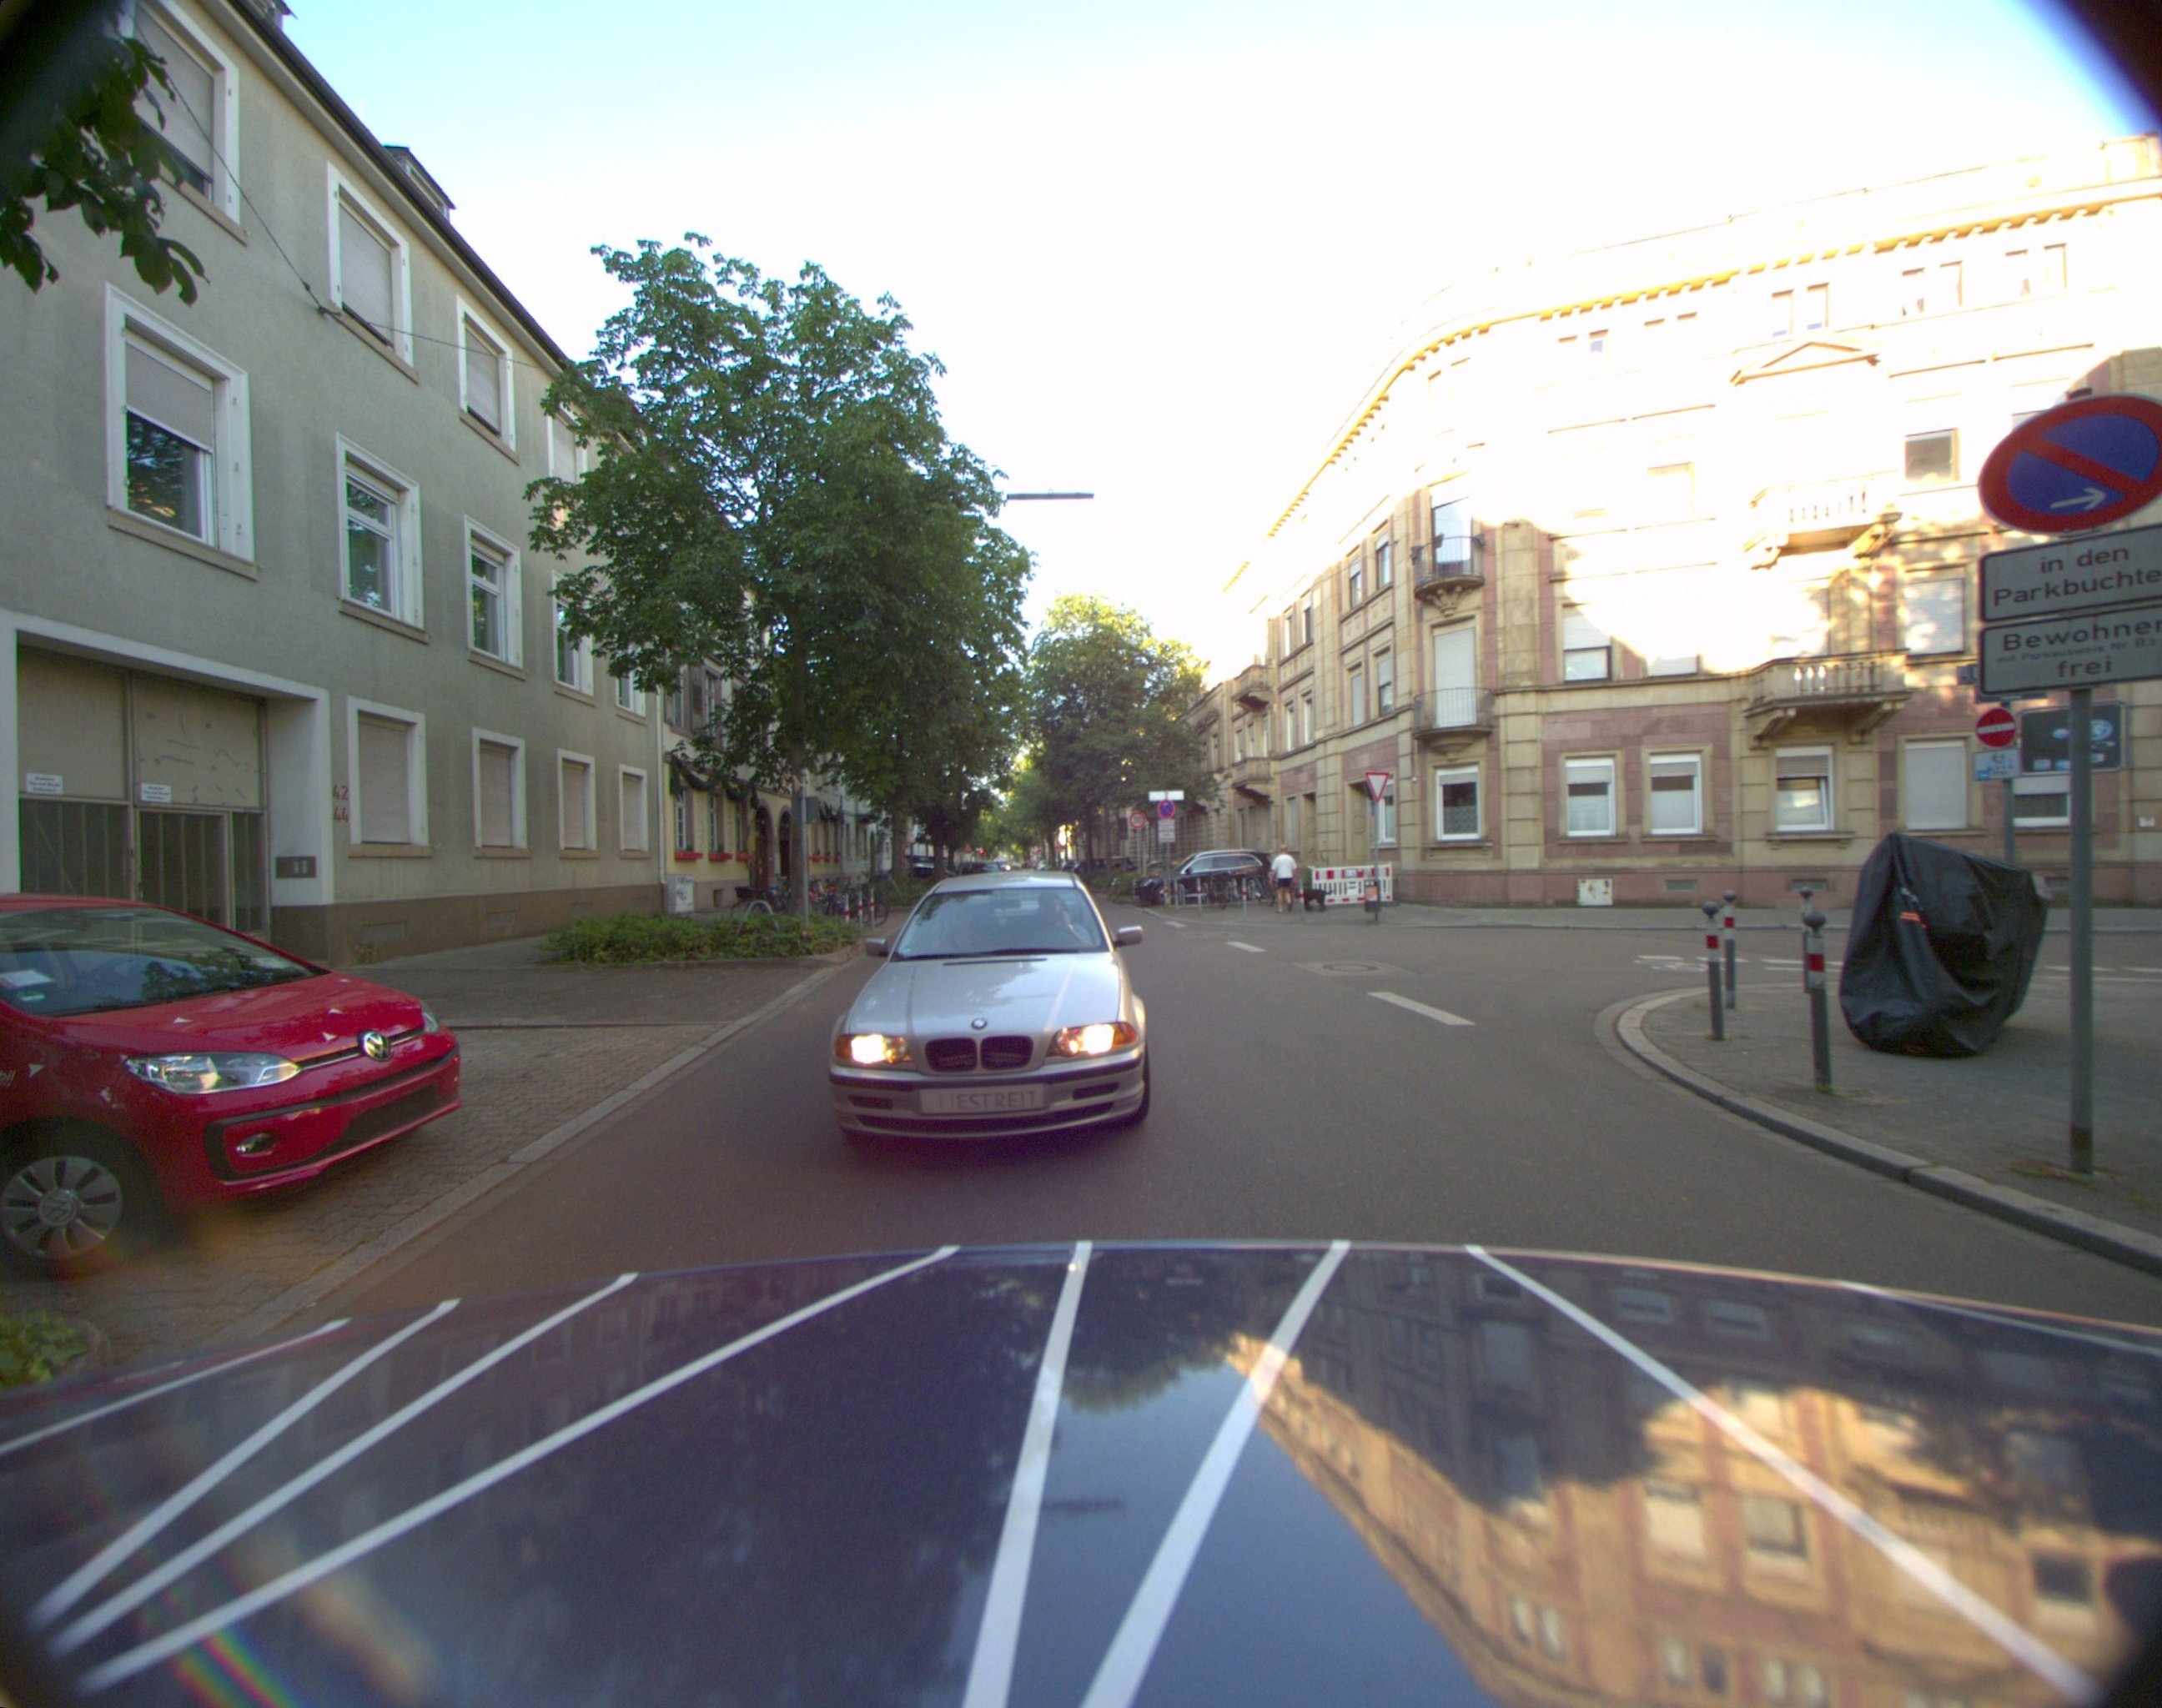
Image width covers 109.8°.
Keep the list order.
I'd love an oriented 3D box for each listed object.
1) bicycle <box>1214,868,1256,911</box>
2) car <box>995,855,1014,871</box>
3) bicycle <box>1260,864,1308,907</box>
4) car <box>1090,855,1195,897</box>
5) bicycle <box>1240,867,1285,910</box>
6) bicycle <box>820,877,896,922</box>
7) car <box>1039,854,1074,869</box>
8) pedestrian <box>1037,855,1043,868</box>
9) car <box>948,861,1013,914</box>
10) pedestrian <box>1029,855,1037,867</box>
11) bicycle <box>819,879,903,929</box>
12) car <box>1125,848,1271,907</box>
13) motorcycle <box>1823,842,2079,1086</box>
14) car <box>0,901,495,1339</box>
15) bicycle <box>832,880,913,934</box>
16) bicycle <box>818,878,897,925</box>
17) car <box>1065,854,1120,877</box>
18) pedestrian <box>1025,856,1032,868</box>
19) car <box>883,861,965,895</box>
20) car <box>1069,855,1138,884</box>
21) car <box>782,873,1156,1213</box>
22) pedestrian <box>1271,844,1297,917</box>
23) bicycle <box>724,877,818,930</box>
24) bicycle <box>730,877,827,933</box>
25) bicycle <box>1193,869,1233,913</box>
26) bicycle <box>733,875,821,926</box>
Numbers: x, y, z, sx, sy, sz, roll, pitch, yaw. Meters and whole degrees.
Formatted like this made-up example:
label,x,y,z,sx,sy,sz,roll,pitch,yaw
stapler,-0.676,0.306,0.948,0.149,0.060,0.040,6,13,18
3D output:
label,x,y,z,sx,sy,sz,roll,pitch,yaw
bicycle,4.380,0.985,21.731,0.562,1.144,2.038,-1,0,-6
car,-7.974,0.933,79.471,1.806,1.543,3.998,-1,0,-4
bicycle,5.791,0.883,21.822,0.562,1.144,2.038,-1,0,-8
car,2.527,0.909,32.090,4.243,1.668,1.742,-1,0,-1
bicycle,5.173,0.963,21.772,0.562,1.144,2.038,-1,0,-8
bicycle,-6.372,1.288,21.792,2.029,1.220,0.535,-1,0,-11
car,-3.000,0.858,92.539,4.245,1.749,1.741,-1,0,-5
pedestrian,-5.840,1.103,108.143,0.712,1.843,0.676,-1,1,-13
car,-3.225,1.030,25.030,1.806,1.543,3.998,-1,0,-4
pedestrian,-8.413,1.243,133.470,1.254,2.002,1.123,-1,1,-9
bicycle,-5.664,1.285,19.641,2.029,1.220,0.535,-1,0,-11
car,3.722,0.724,24.657,4.423,1.771,1.742,-1,0,-2
motorcycle,6.493,0.680,5.639,2.286,1.496,0.816,-1,1,-30
car,-5.168,1.044,3.426,3.621,1.468,1.663,-1,0,-7
bicycle,-5.040,1.258,18.401,1.849,1.220,0.535,-1,0,-16
bicycle,-6.130,1.288,20.922,2.029,1.220,0.535,-1,0,-11
car,0.860,0.874,60.853,4.245,1.749,1.741,-1,0,-5
pedestrian,-9.004,1.299,130.274,1.185,2.002,1.020,-2,1,-9
car,-8.558,1.279,41.672,4.245,1.729,1.741,-1,0,-6
car,1.407,0.963,48.383,4.245,1.749,1.741,-1,0,-5
car,-0.491,0.942,5.757,1.711,1.433,4.436,-1,0,1
pedestrian,5.113,0.653,19.134,0.572,1.797,0.652,-1,1,13
bicycle,-7.497,1.184,18.454,2.030,1.220,0.535,-1,0,-16
bicycle,-7.037,1.174,17.751,2.030,1.220,0.535,-1,0,-16
bicycle,3.741,1.029,21.662,0.562,1.144,2.038,-1,0,-6
bicycle,-7.818,1.183,19.600,2.029,1.220,0.535,-1,0,-13
